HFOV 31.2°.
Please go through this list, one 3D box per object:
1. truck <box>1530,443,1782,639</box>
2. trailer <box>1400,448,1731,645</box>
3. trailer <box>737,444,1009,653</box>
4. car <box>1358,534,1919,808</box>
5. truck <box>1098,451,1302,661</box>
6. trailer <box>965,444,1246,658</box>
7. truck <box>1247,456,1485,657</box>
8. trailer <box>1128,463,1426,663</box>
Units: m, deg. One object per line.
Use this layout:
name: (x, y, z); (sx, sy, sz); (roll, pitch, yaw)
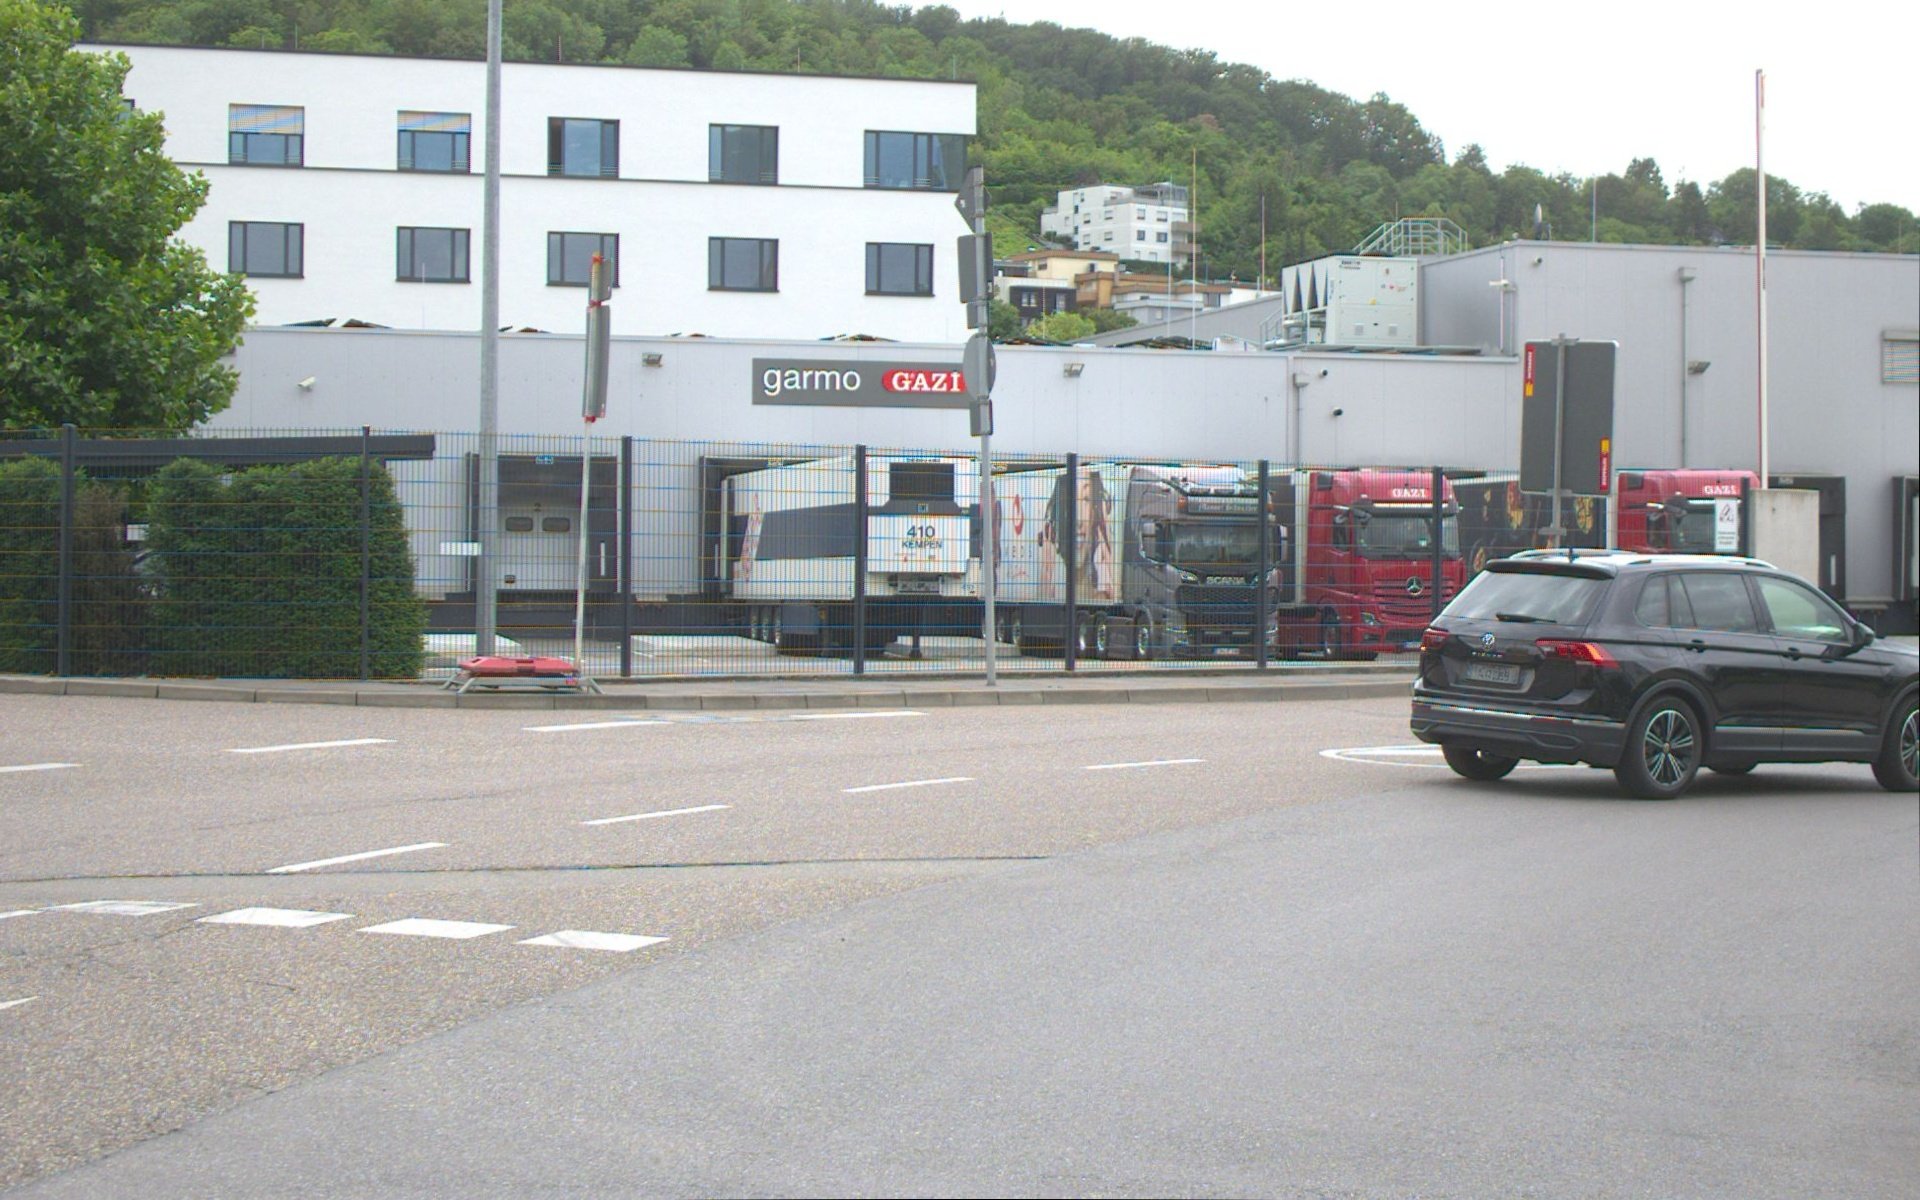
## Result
truck: (14.593, -1.226, 72.565); (2.792, 3.915, 5.927); (1, 0, -15)
trailer: (13.377, -1.174, 77.306); (2.782, 4.064, 11.000); (1, 0, -15)
trailer: (-2.065, -1.076, 73.497); (3.080, 4.064, 11.413); (1, 0, -15)
car: (5.129, 0.512, 23.951); (4.357, 1.678, 2.000); (2, 1, -35)
truck: (4.746, -0.872, 68.728); (2.792, 4.026, 4.166); (1, 0, -15)
trailer: (2.975, -1.055, 75.182); (2.782, 4.286, 11.185); (1, 0, -15)
truck: (8.262, -0.879, 70.753); (2.792, 3.915, 5.927); (1, 0, -15)
trailer: (6.804, -0.825, 76.132); (2.782, 4.064, 11.000); (1, 0, -15)
